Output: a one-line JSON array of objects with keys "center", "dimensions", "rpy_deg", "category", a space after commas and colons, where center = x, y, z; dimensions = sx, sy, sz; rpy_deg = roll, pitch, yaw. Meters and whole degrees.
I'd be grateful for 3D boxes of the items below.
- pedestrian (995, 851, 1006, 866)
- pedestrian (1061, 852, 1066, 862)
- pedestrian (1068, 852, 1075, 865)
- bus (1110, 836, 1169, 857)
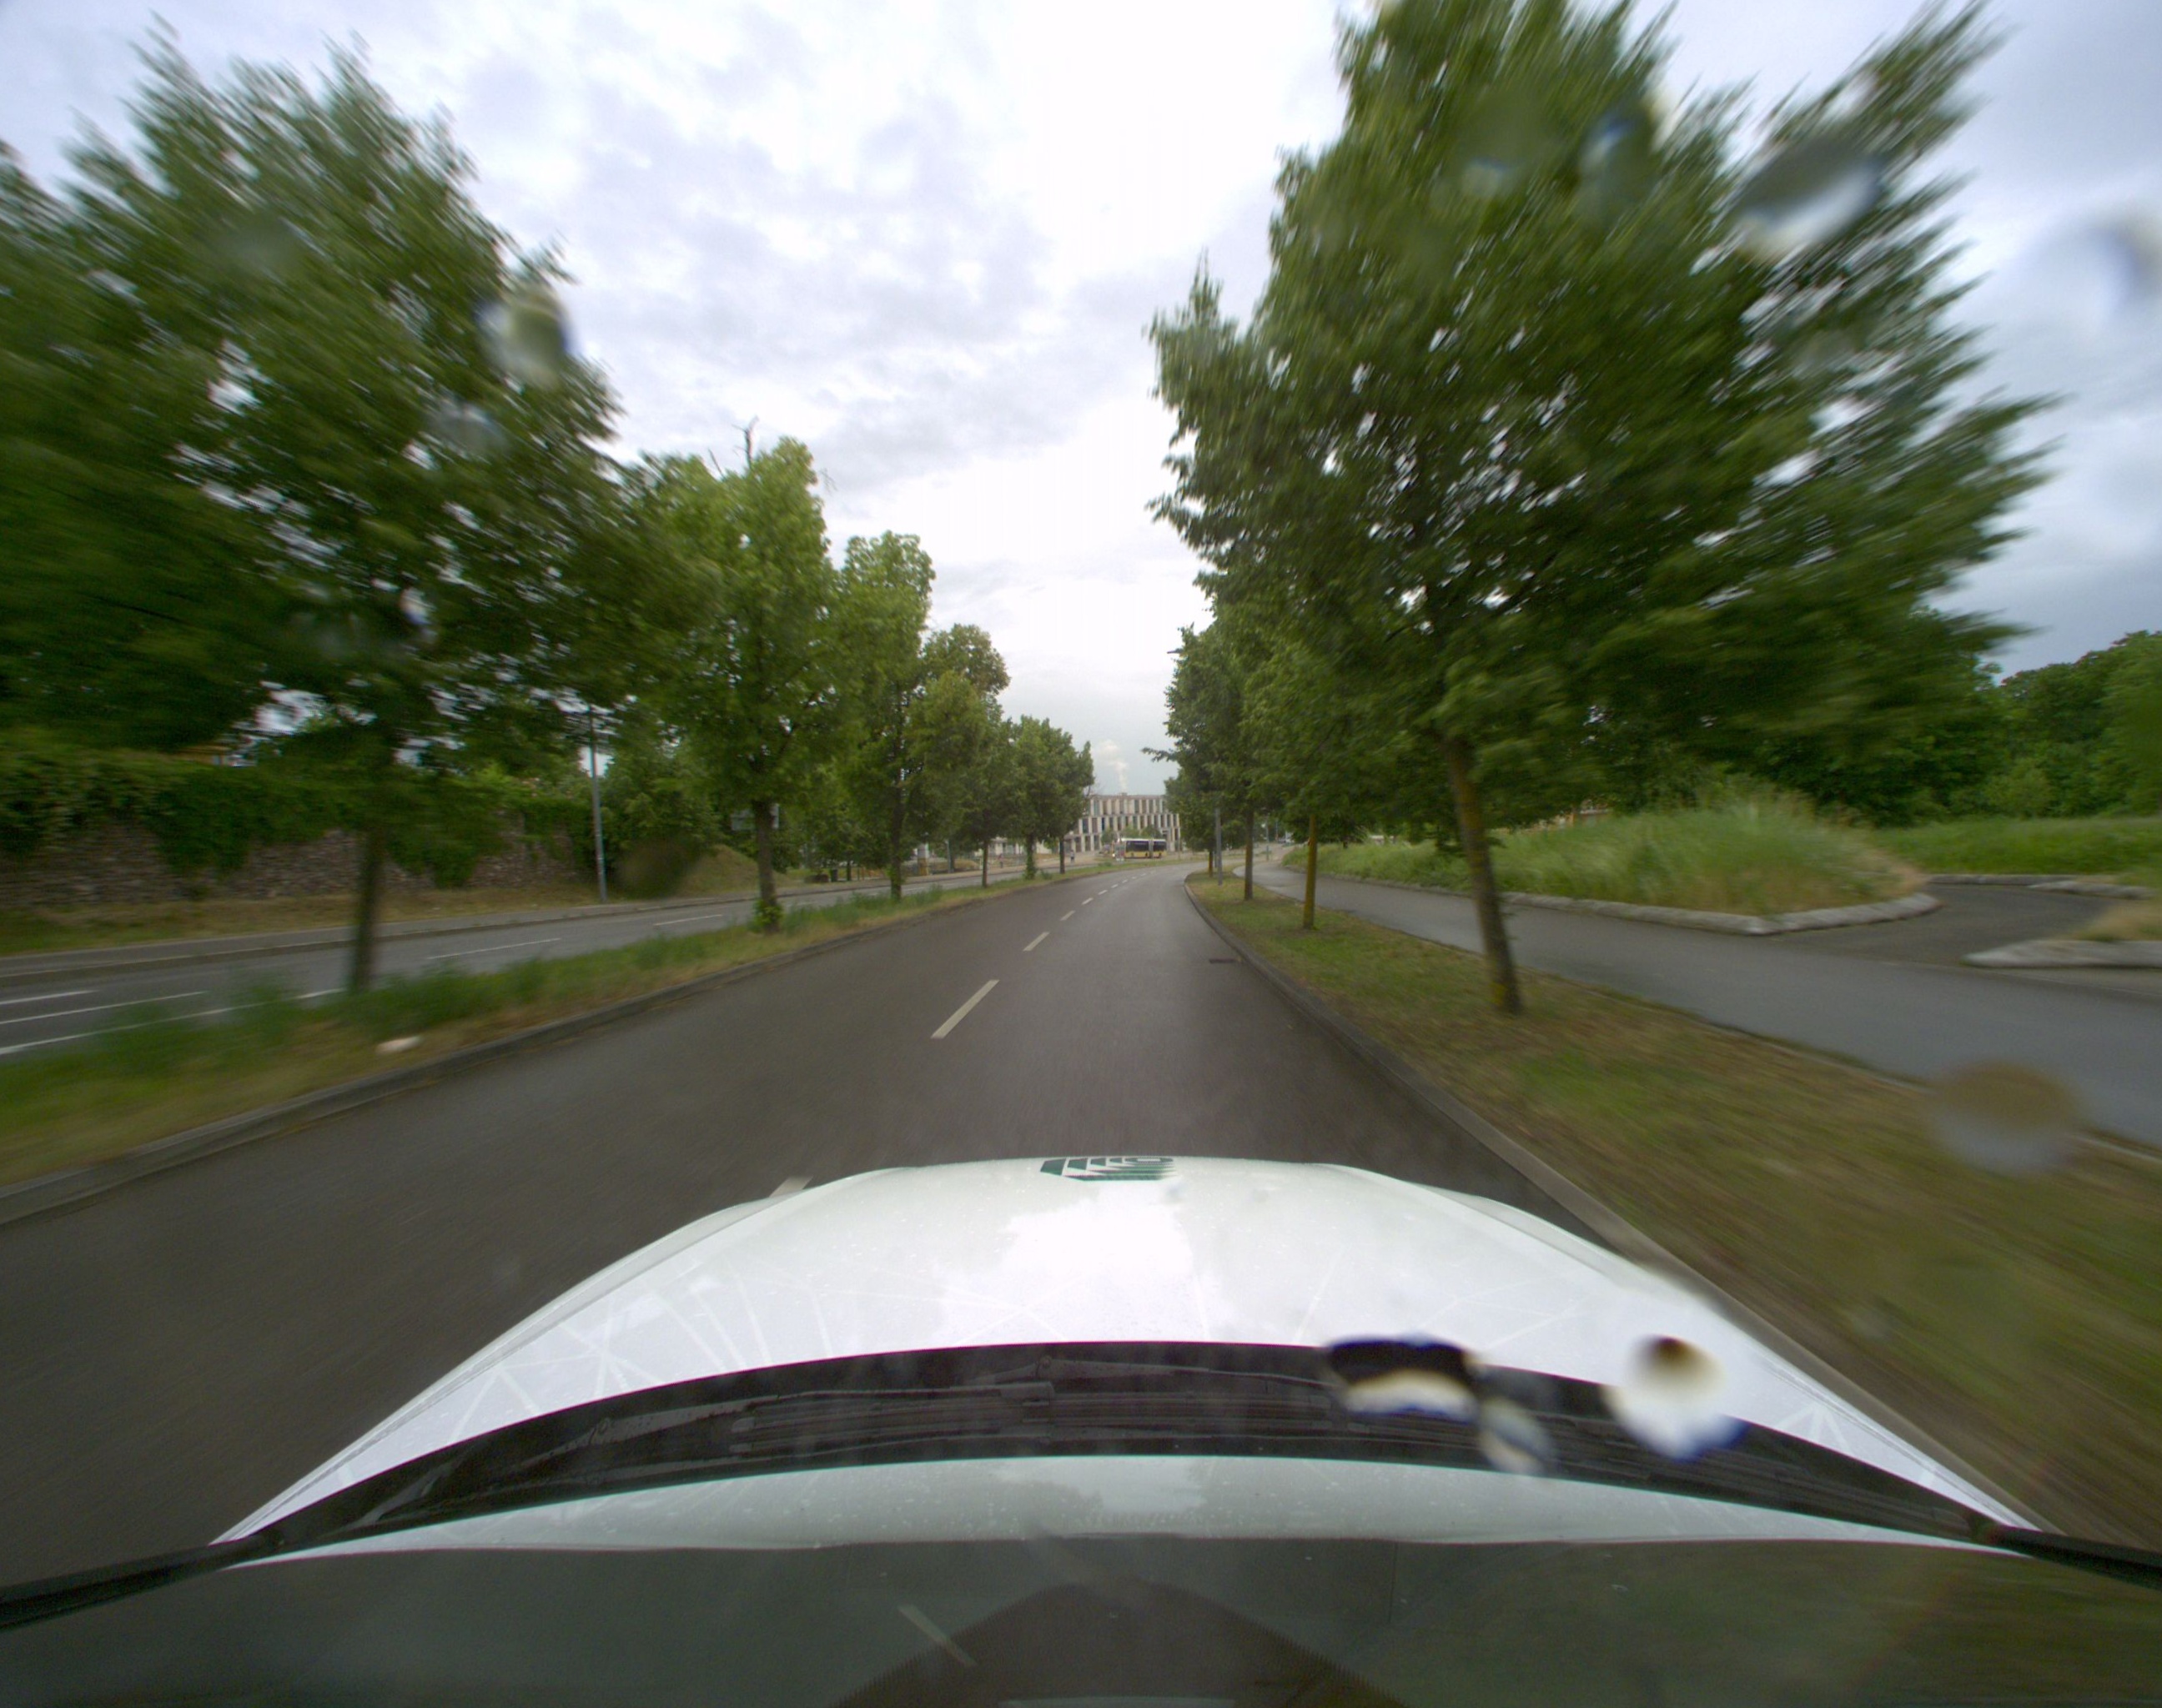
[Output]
[{"center": [-8.490, 0.488, 86.137], "dimensions": [0.808, 1.621, 0.939], "rpy_deg": [-1, -1, 13], "category": "pedestrian"}, {"center": [-2.717, 0.402, 126.404], "dimensions": [0.679, 1.524, 0.720], "rpy_deg": [-1, -1, 3], "category": "pedestrian"}, {"center": [-1.160, 0.569, 103.319], "dimensions": [0.832, 1.573, 0.718], "rpy_deg": [-1, -1, -4], "category": "pedestrian"}, {"center": [10.414, -1.229, 141.540], "dimensions": [2.758, 3.357, 18.337], "rpy_deg": [-2, -1, 28], "category": "bus"}]
